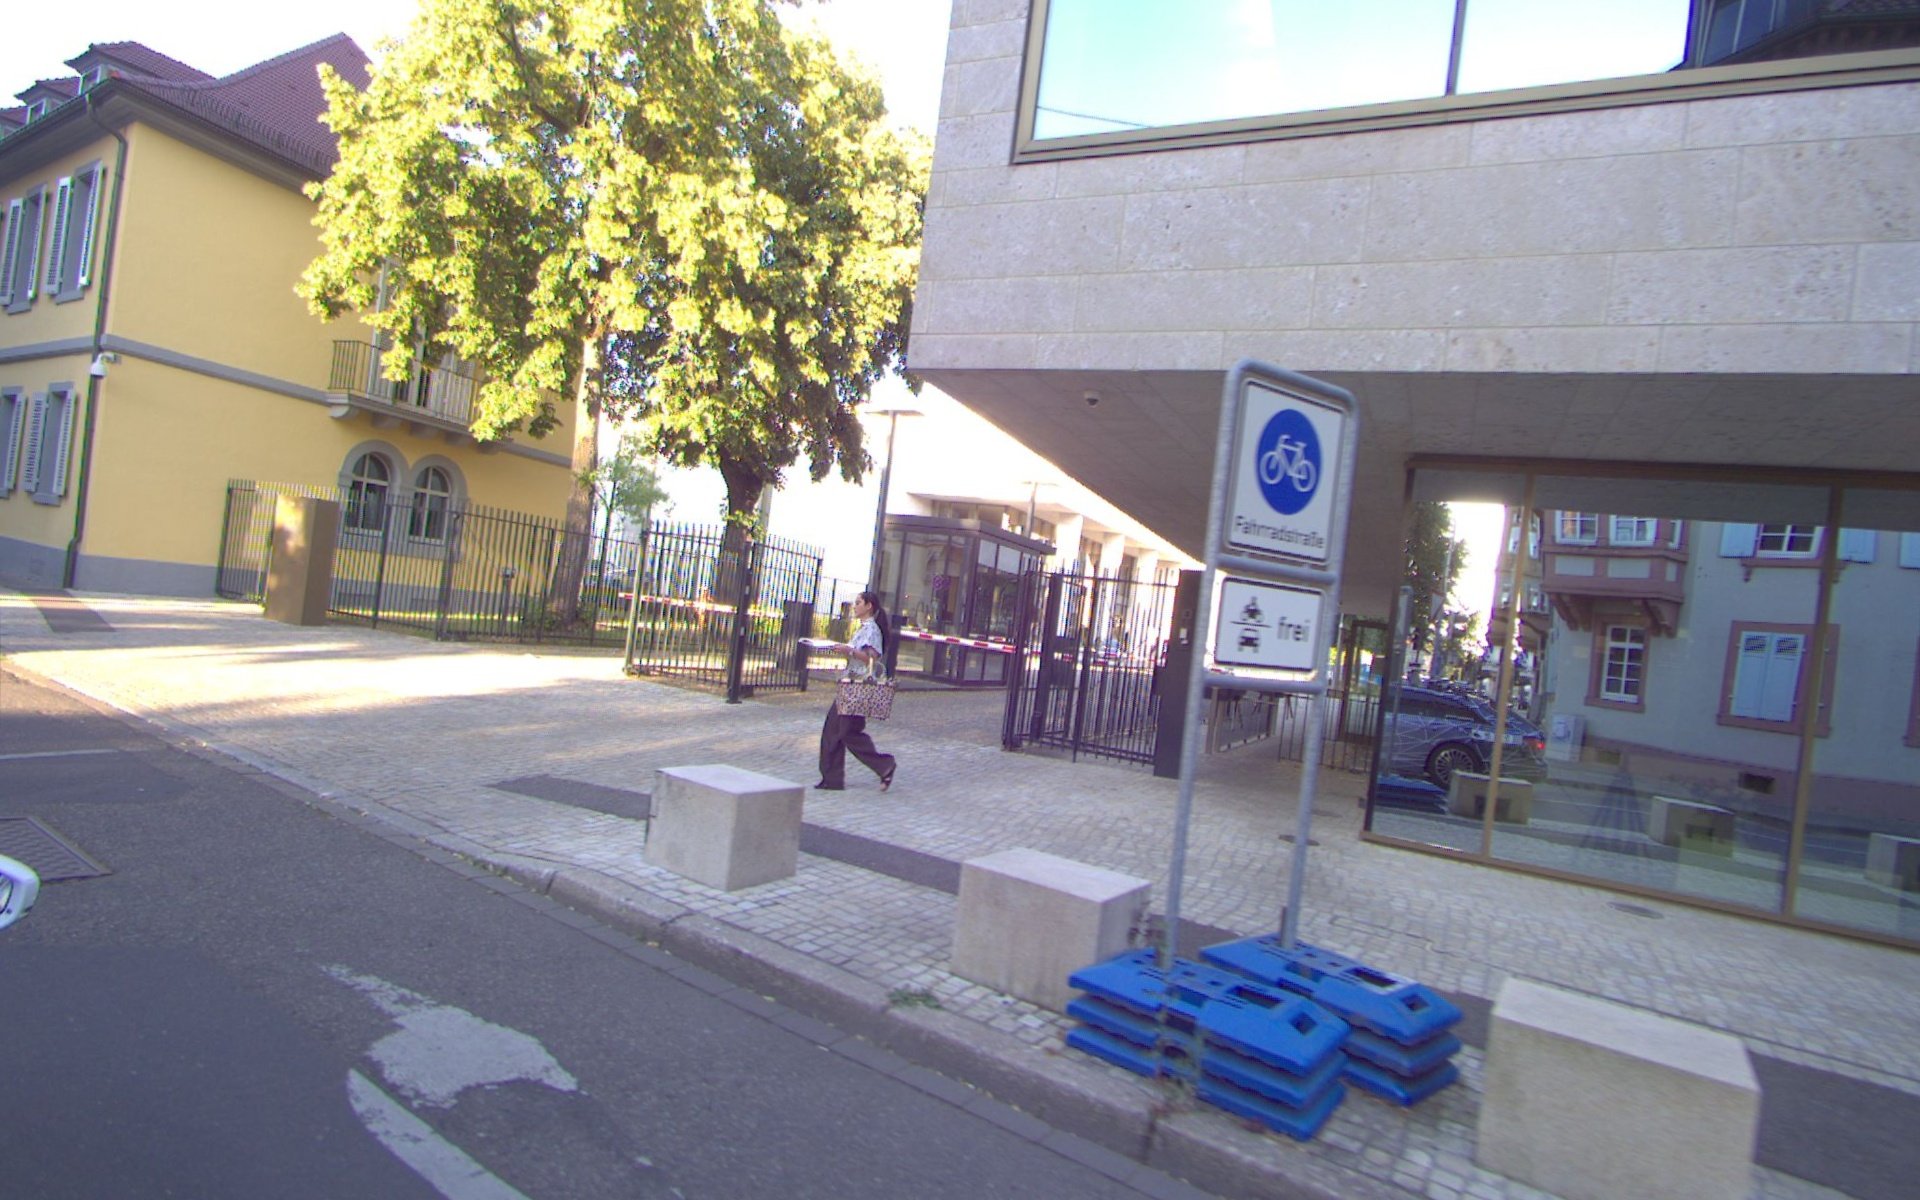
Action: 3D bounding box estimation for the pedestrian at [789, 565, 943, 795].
[{"bbox_3d":[-0.751,0.615,7.893,0.945,1.680,0.637,5,1,-18],"label":"pedestrian"}]

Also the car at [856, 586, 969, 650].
[{"bbox_3d":[-1.471,0.629,33.004,1.681,1.757,4.057,4,-2,30],"label":"car"}]
